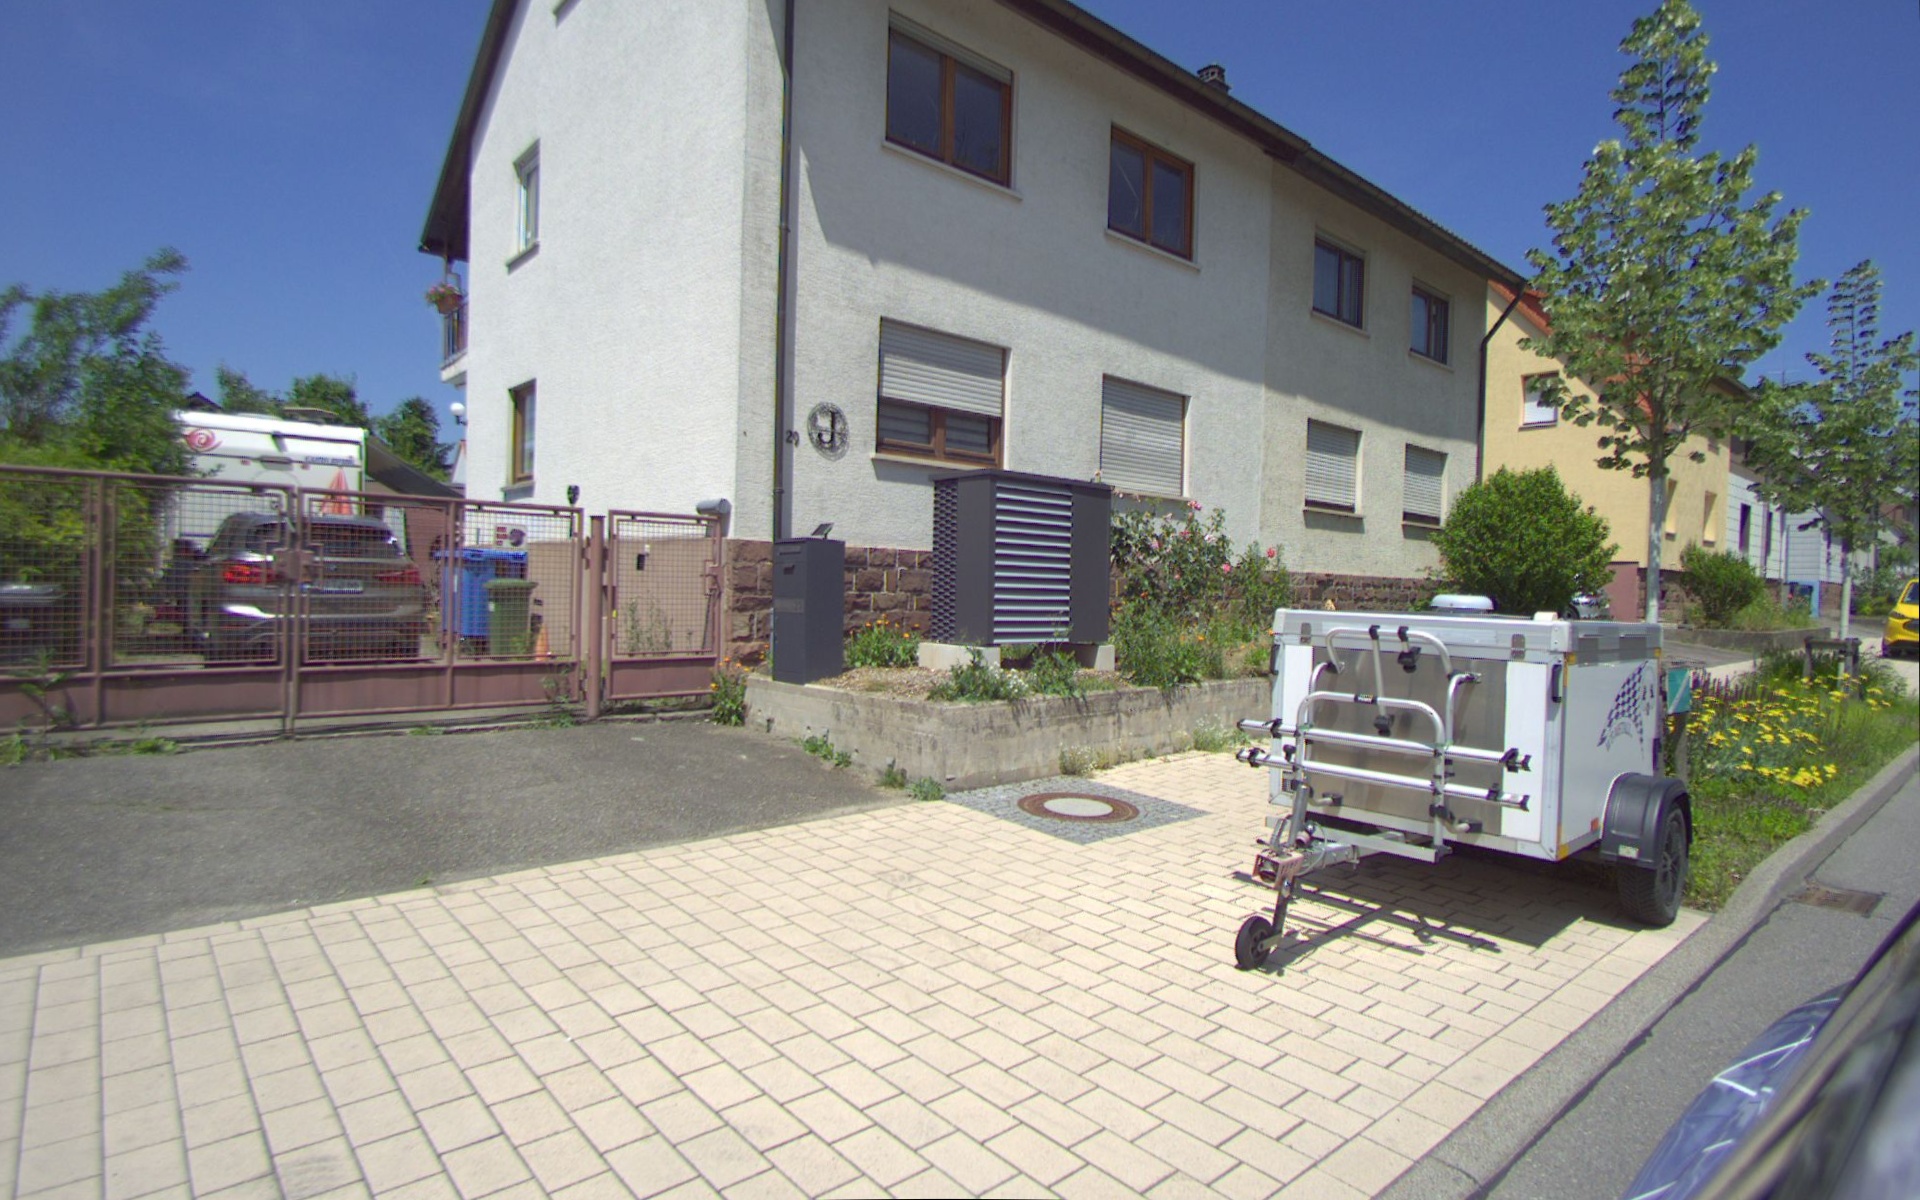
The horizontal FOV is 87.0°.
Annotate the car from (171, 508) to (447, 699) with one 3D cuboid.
[{"bbox_3d":[-7.043,-0.087,10.769,1.965,1.623,3.996,-1,4,-40],"label":"car"}]

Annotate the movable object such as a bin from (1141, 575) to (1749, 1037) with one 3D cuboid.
[{"bbox_3d":[2.413,0.613,4.786,2.990,1.434,1.574,-1,2,-42],"label":"movable object such as a bin"}]

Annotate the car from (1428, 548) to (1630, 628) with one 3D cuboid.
[{"bbox_3d":[14.179,-0.353,25.379,1.843,1.696,3.993,0,4,-43],"label":"car"}]

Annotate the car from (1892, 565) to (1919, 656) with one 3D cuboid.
[{"bbox_3d":[24.197,0.254,24.232,5.528,2.037,2.194,-1,6,-43],"label":"car"}]
